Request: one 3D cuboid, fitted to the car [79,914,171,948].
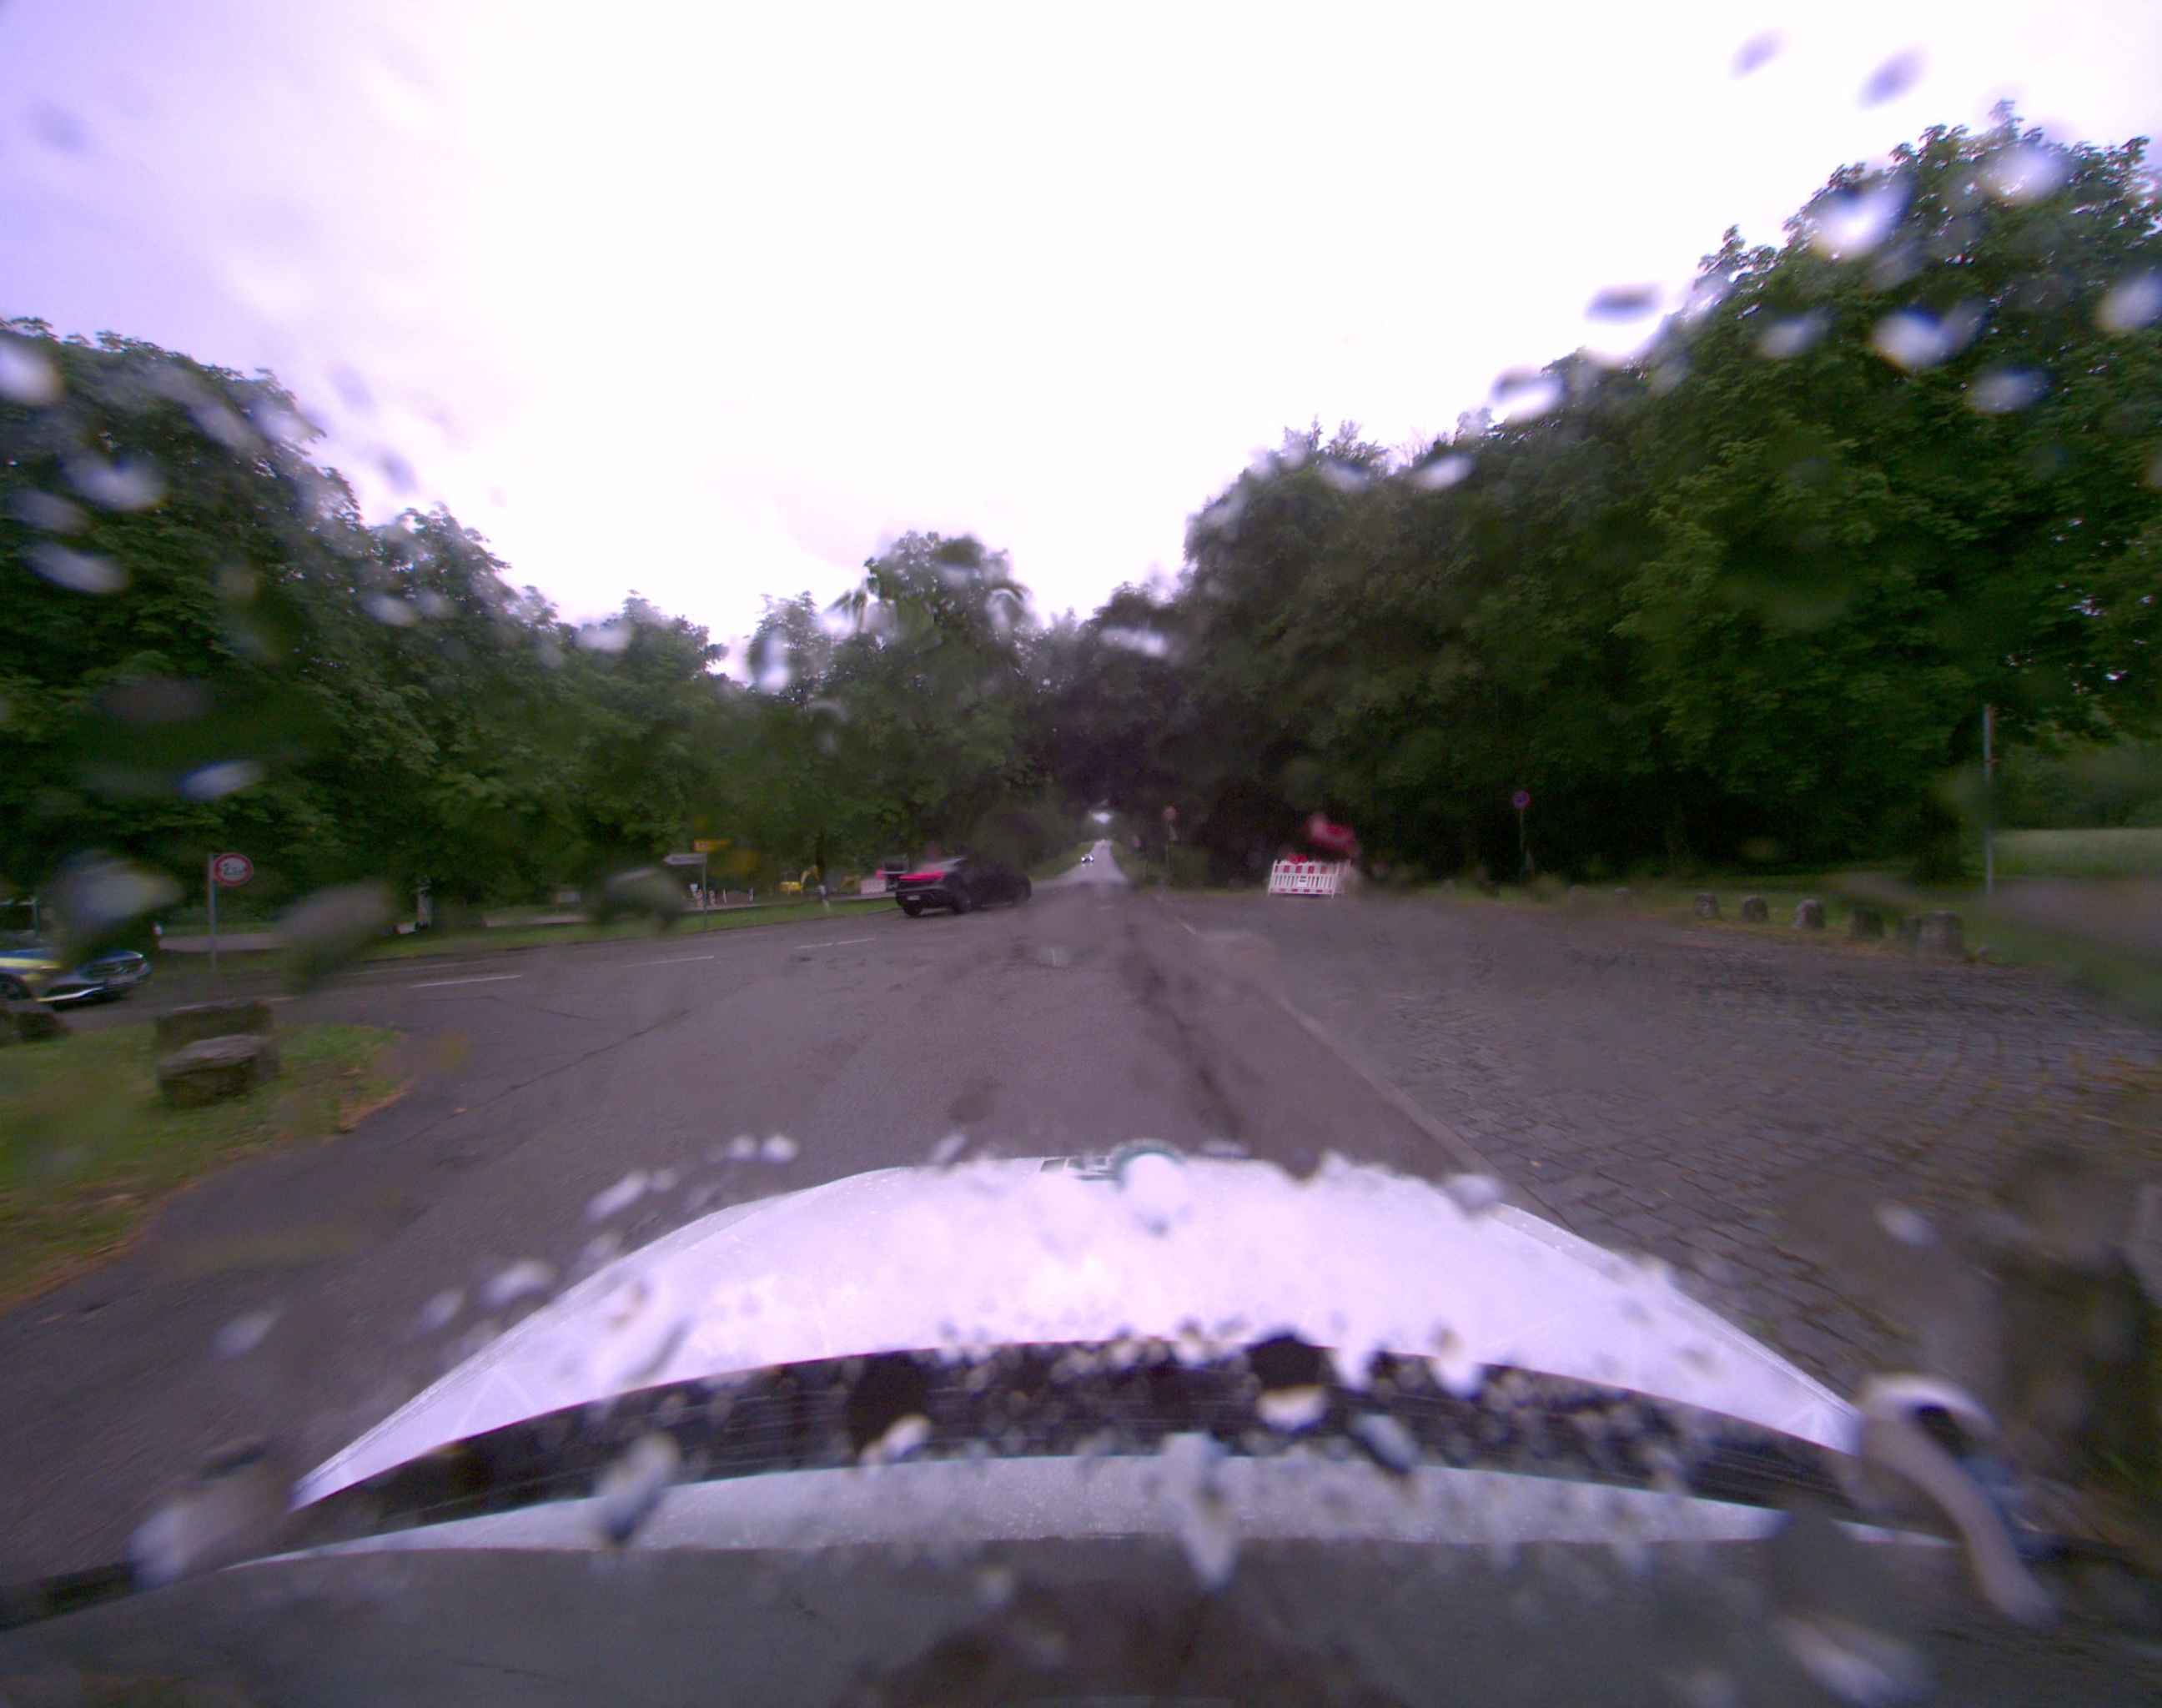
[{"bbox_3d":[-52.706,4.245,44.908,3.953,1.585,2.010,-3,0,21],"label":"car"}]

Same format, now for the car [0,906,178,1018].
[{"bbox_3d":[-18.635,1.854,13.386,4.893,1.600,1.723,-3,0,-14],"label":"car"}]

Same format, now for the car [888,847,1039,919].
[{"bbox_3d":[-3.283,0.781,23.805,1.709,1.708,4.605,-3,1,32],"label":"car"}]

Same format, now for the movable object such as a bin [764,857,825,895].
[{"bbox_3d":[-27.252,2.086,77.666,4.654,3.294,3.901,-3,0,-10],"label":"movable object such as a bin"}]

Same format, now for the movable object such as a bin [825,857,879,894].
[{"bbox_3d":[-22.201,2.039,79.200,4.581,3.294,3.654,-3,0,-10],"label":"movable object such as a bin"}]

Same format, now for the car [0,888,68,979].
[{"bbox_3d":[-31.452,2.285,23.463,5.908,2.408,2.407,-4,-2,43],"label":"car"}]

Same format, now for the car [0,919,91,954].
[{"bbox_3d":[-54.029,4.294,42.348,3.953,1.585,2.010,-3,0,21],"label":"car"}]
